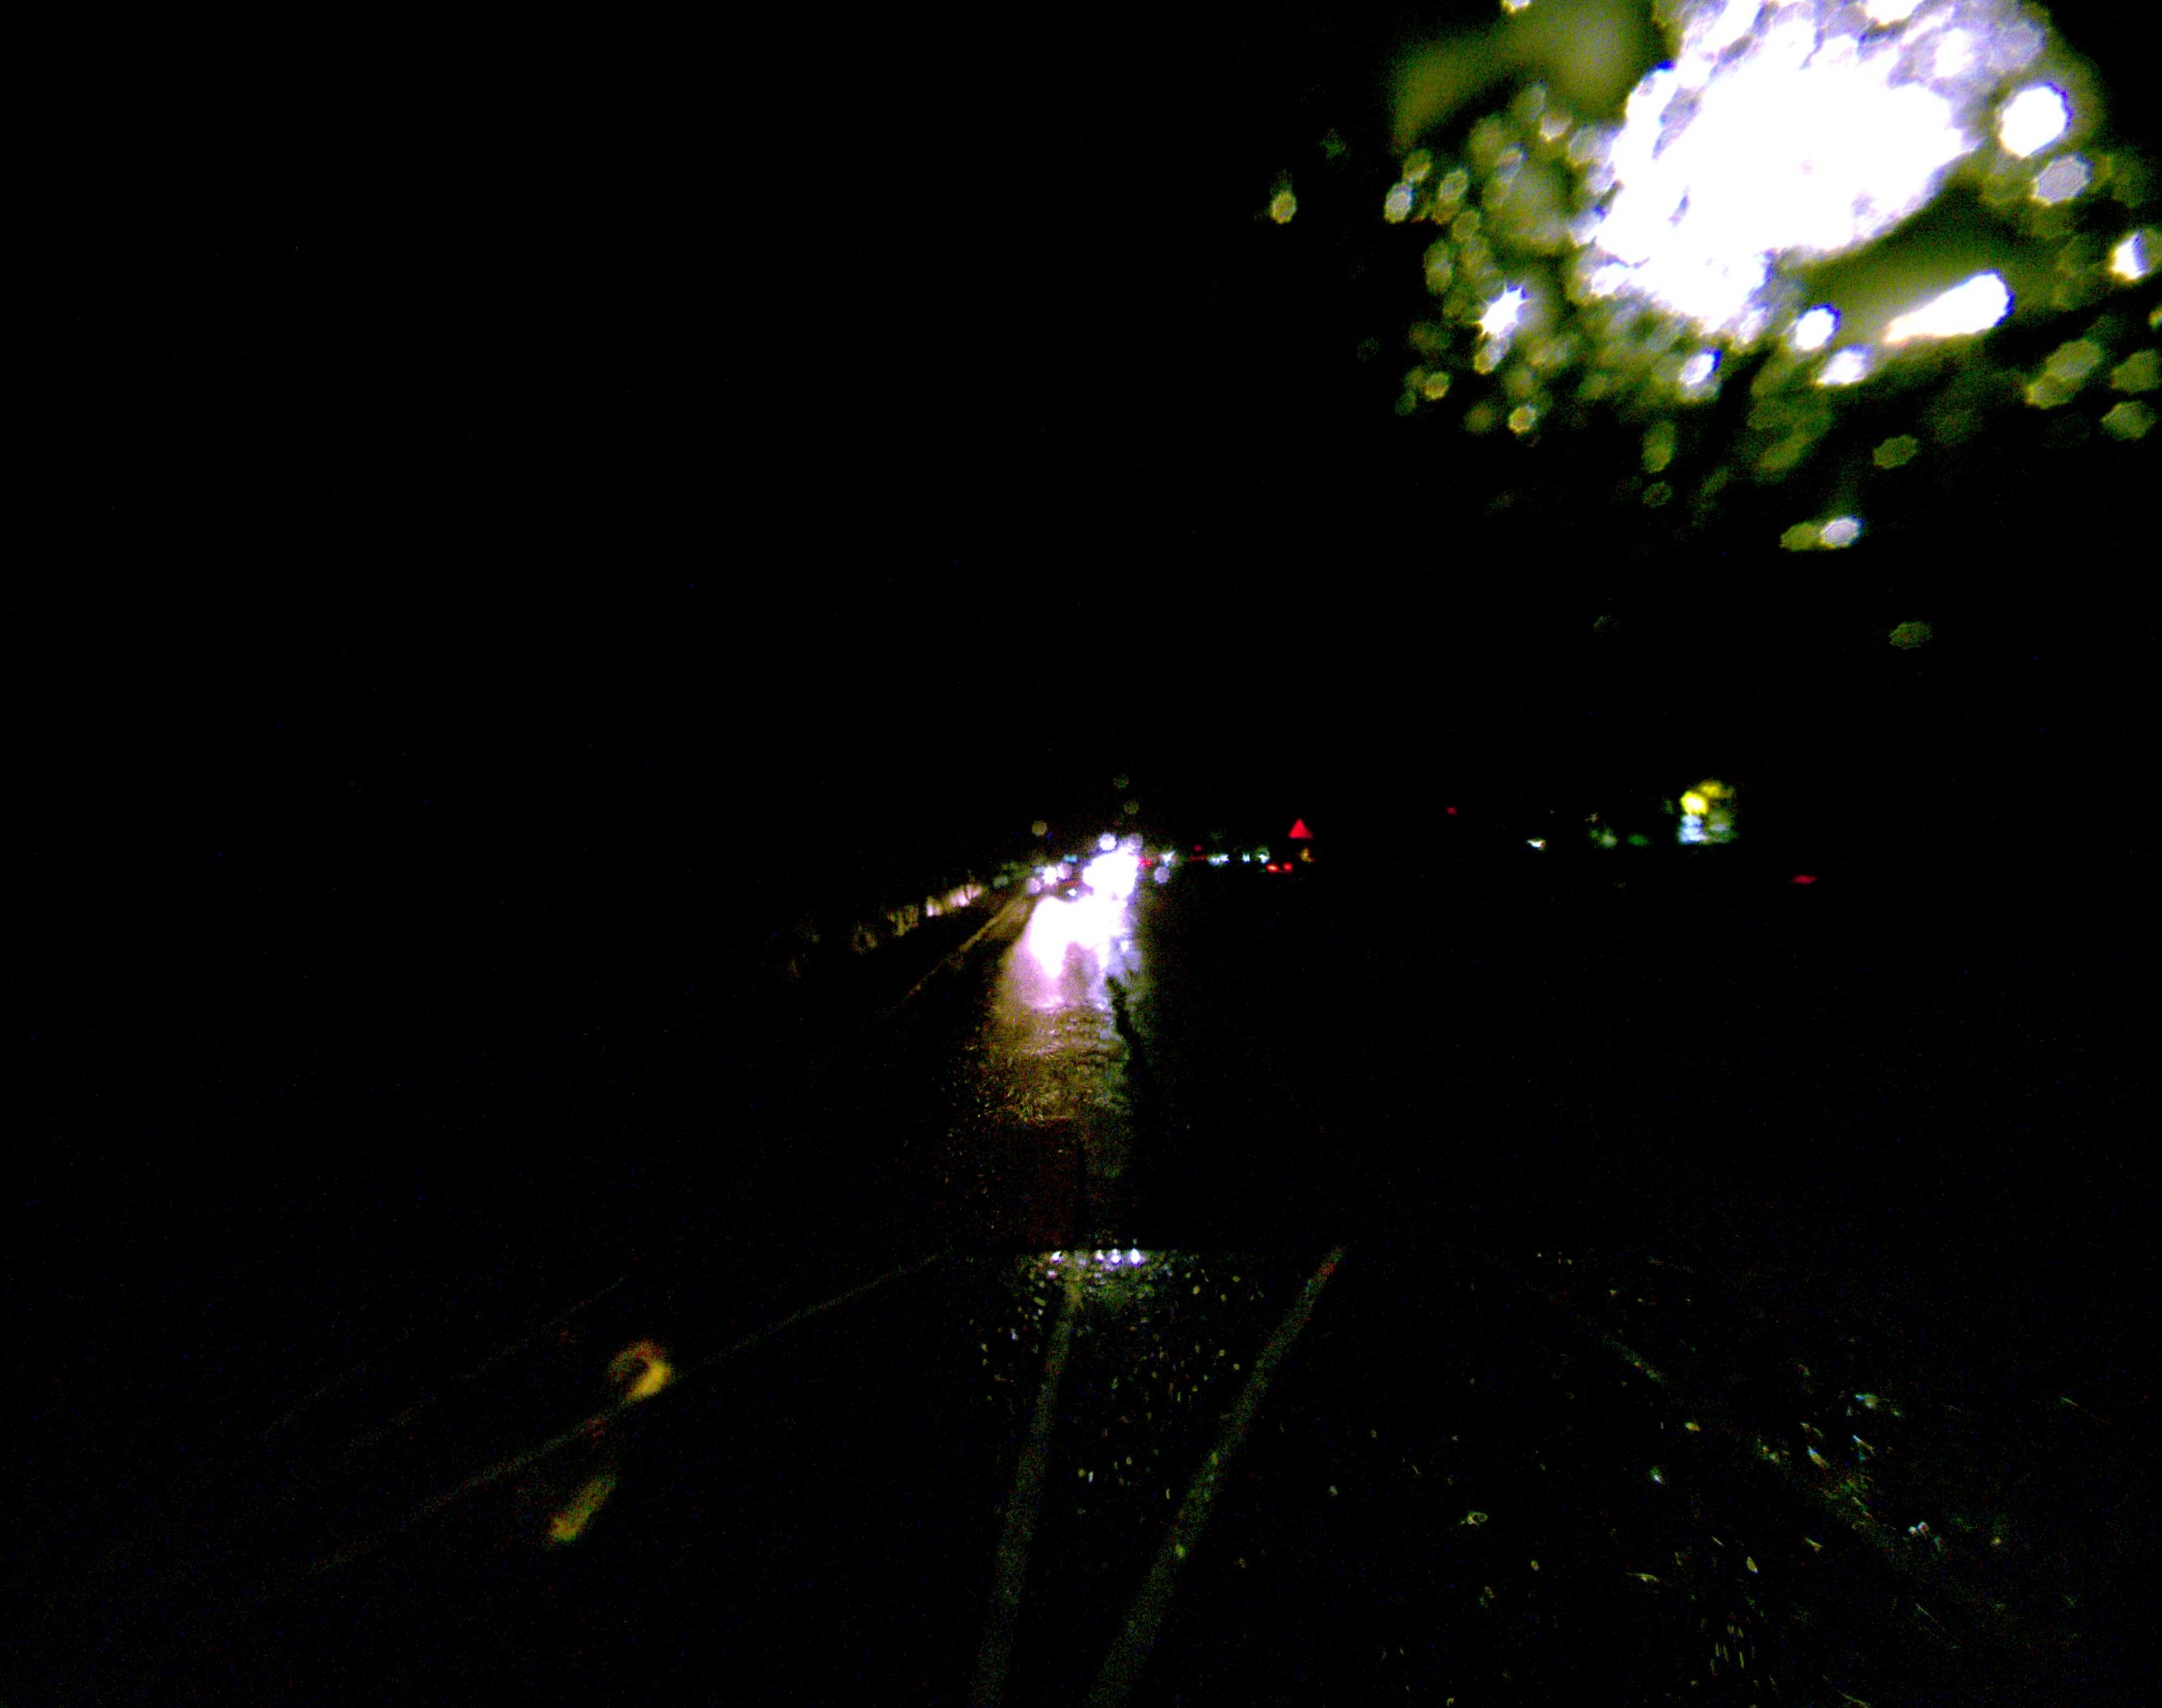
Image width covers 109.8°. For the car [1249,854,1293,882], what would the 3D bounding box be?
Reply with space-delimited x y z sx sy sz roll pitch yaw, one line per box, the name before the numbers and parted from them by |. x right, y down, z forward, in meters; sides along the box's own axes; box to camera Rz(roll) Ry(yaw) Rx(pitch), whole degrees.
car | 12.552 0.902 50.437 1.712 1.644 4.506 -1 1 -1

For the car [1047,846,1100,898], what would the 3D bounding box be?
car | -0.338 0.645 29.748 1.878 1.825 4.204 -1 0 -2

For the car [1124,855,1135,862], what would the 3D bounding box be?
car | 11.015 0.953 173.418 1.997 1.456 4.002 -1 1 10

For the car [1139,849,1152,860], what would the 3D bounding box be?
car | 10.741 0.059 125.838 2.093 1.691 4.579 -1 1 6

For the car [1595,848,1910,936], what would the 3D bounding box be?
car | 13.781 0.650 16.110 1.752 1.495 4.886 -2 1 -13

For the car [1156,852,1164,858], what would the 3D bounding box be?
car | 20.958 0.287 200.562 1.807 1.416 4.207 -1 1 9

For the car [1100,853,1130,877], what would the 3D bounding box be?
car | 2.474 0.771 56.313 1.914 1.694 4.938 -1 0 -1

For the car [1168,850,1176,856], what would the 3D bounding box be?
car | 26.664 -0.281 222.280 1.806 1.416 4.208 -1 1 11
